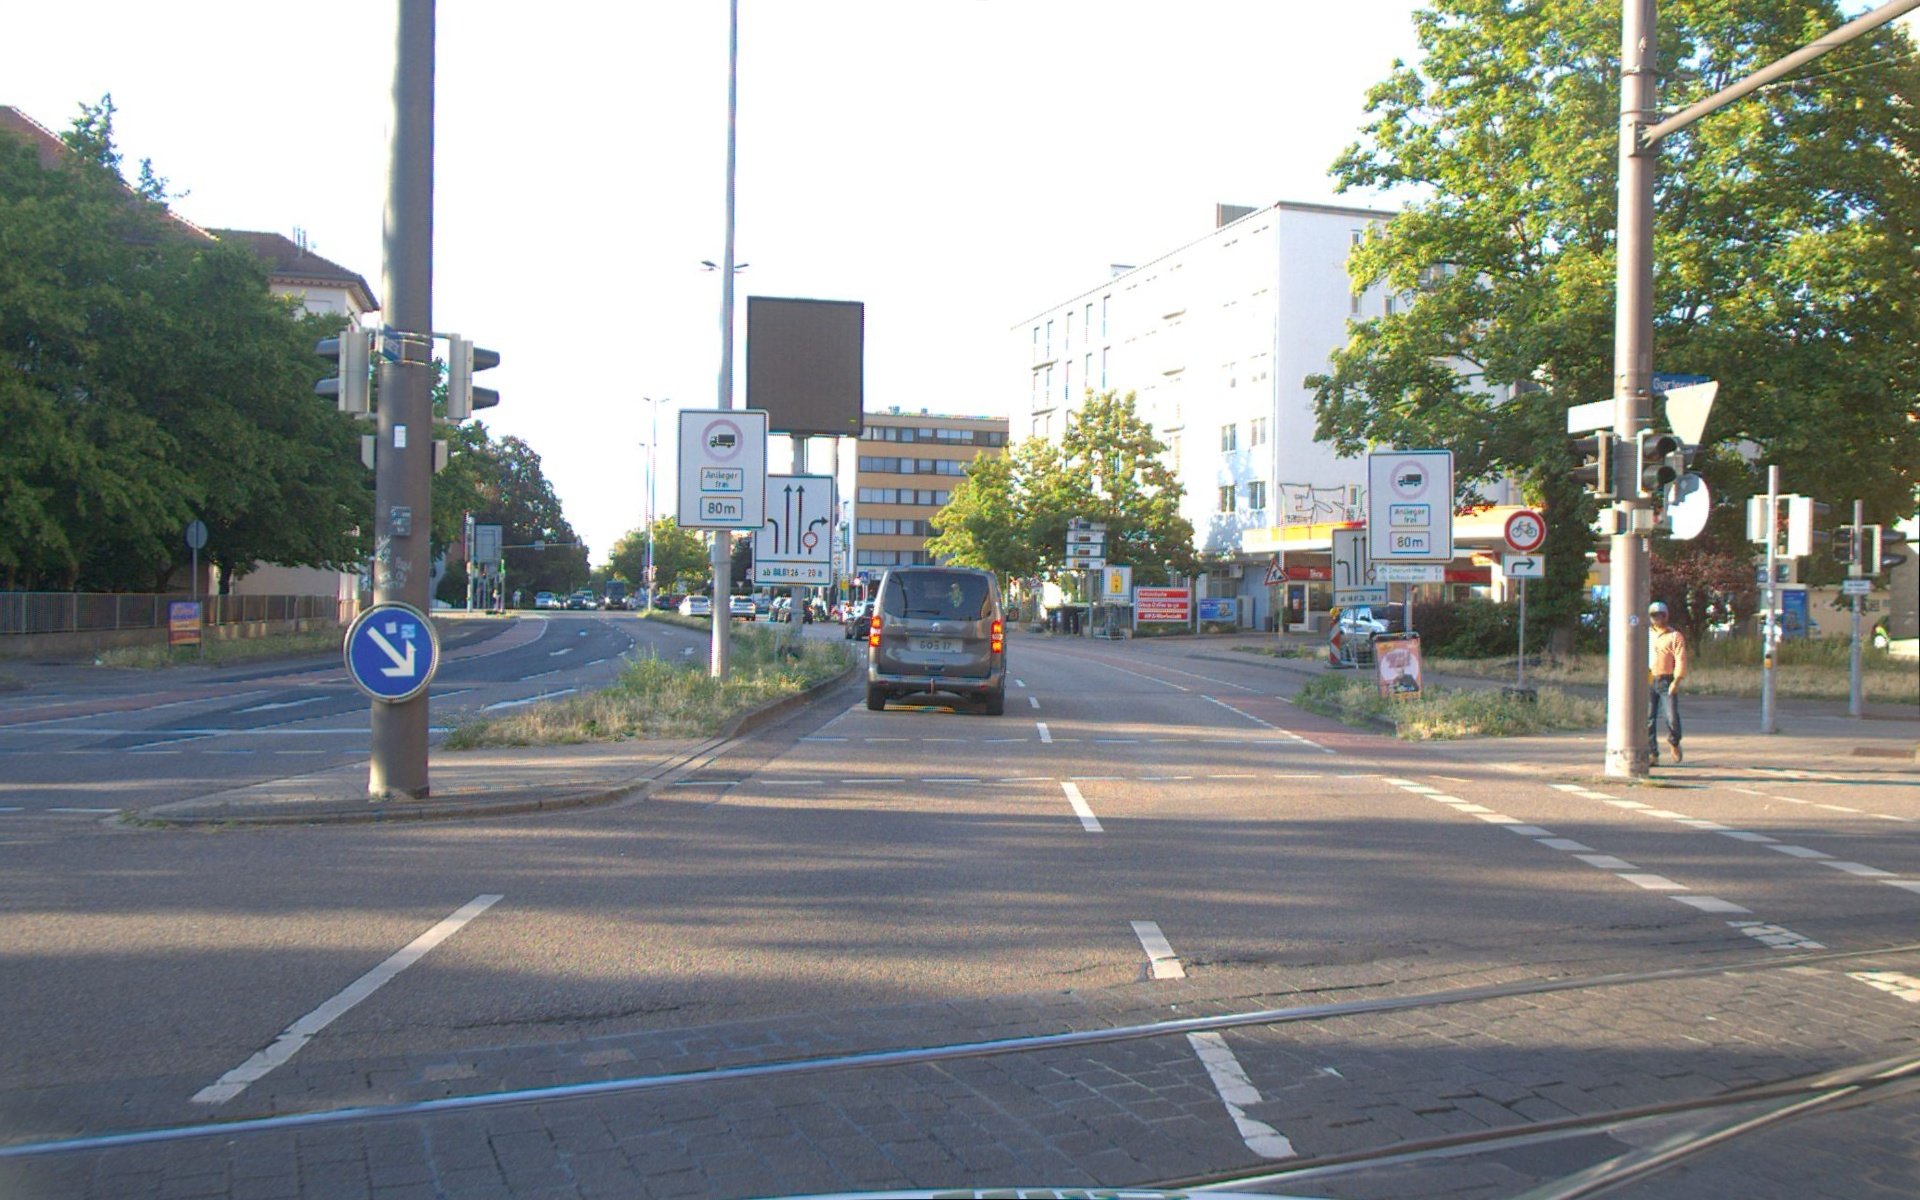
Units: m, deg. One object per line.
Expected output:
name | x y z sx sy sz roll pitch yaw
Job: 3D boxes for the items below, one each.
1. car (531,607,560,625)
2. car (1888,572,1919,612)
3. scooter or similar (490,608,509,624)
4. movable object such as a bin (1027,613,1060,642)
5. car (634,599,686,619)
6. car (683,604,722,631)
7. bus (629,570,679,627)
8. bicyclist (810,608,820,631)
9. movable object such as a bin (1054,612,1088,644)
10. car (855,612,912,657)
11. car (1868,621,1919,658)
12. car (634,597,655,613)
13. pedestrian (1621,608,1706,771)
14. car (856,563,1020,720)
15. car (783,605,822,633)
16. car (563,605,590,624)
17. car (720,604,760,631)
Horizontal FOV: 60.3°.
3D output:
car | -37.283 1.435 148.906 1.955 1.623 3.994 1 0 -6
car | 51.484 -0.411 87.474 1.963 2.049 3.979 1 0 -18
scooter or similar | -30.494 1.056 109.468 1.084 0.994 0.555 3 -1 -24
movable object such as a bin | 4.191 1.387 83.089 1.434 1.410 1.545 1 0 -5
car | -25.387 0.777 140.075 3.939 1.623 1.983 1 0 -27
car | -16.361 1.107 104.990 1.961 1.685 4.280 1 0 -16
bus | -26.889 -0.136 145.004 3.237 4.698 9.955 2 -1 -16
bicyclist | -9.593 1.301 109.258 0.531 1.485 0.639 1 -1 -13
movable object such as a bin | 5.347 1.353 79.826 1.434 1.479 1.545 1 0 -5
car | -2.833 1.246 60.653 1.810 1.571 3.626 1 0 -6
car | 38.178 1.579 65.973 1.544 1.405 3.424 1 0 -15
car | -34.451 0.510 180.719 1.820 1.738 3.706 1 0 -18
pedestrian | 7.318 0.916 17.228 0.541 1.657 0.699 1 0 -4
car | -0.206 0.557 23.265 1.952 1.934 4.300 2 -1 3
car | -9.744 1.150 102.105 1.958 1.685 4.286 1 0 -12
car | -34.709 1.310 149.748 1.955 1.623 3.994 1 0 -6
car | -14.154 1.100 106.302 1.961 1.685 4.280 1 0 -16
